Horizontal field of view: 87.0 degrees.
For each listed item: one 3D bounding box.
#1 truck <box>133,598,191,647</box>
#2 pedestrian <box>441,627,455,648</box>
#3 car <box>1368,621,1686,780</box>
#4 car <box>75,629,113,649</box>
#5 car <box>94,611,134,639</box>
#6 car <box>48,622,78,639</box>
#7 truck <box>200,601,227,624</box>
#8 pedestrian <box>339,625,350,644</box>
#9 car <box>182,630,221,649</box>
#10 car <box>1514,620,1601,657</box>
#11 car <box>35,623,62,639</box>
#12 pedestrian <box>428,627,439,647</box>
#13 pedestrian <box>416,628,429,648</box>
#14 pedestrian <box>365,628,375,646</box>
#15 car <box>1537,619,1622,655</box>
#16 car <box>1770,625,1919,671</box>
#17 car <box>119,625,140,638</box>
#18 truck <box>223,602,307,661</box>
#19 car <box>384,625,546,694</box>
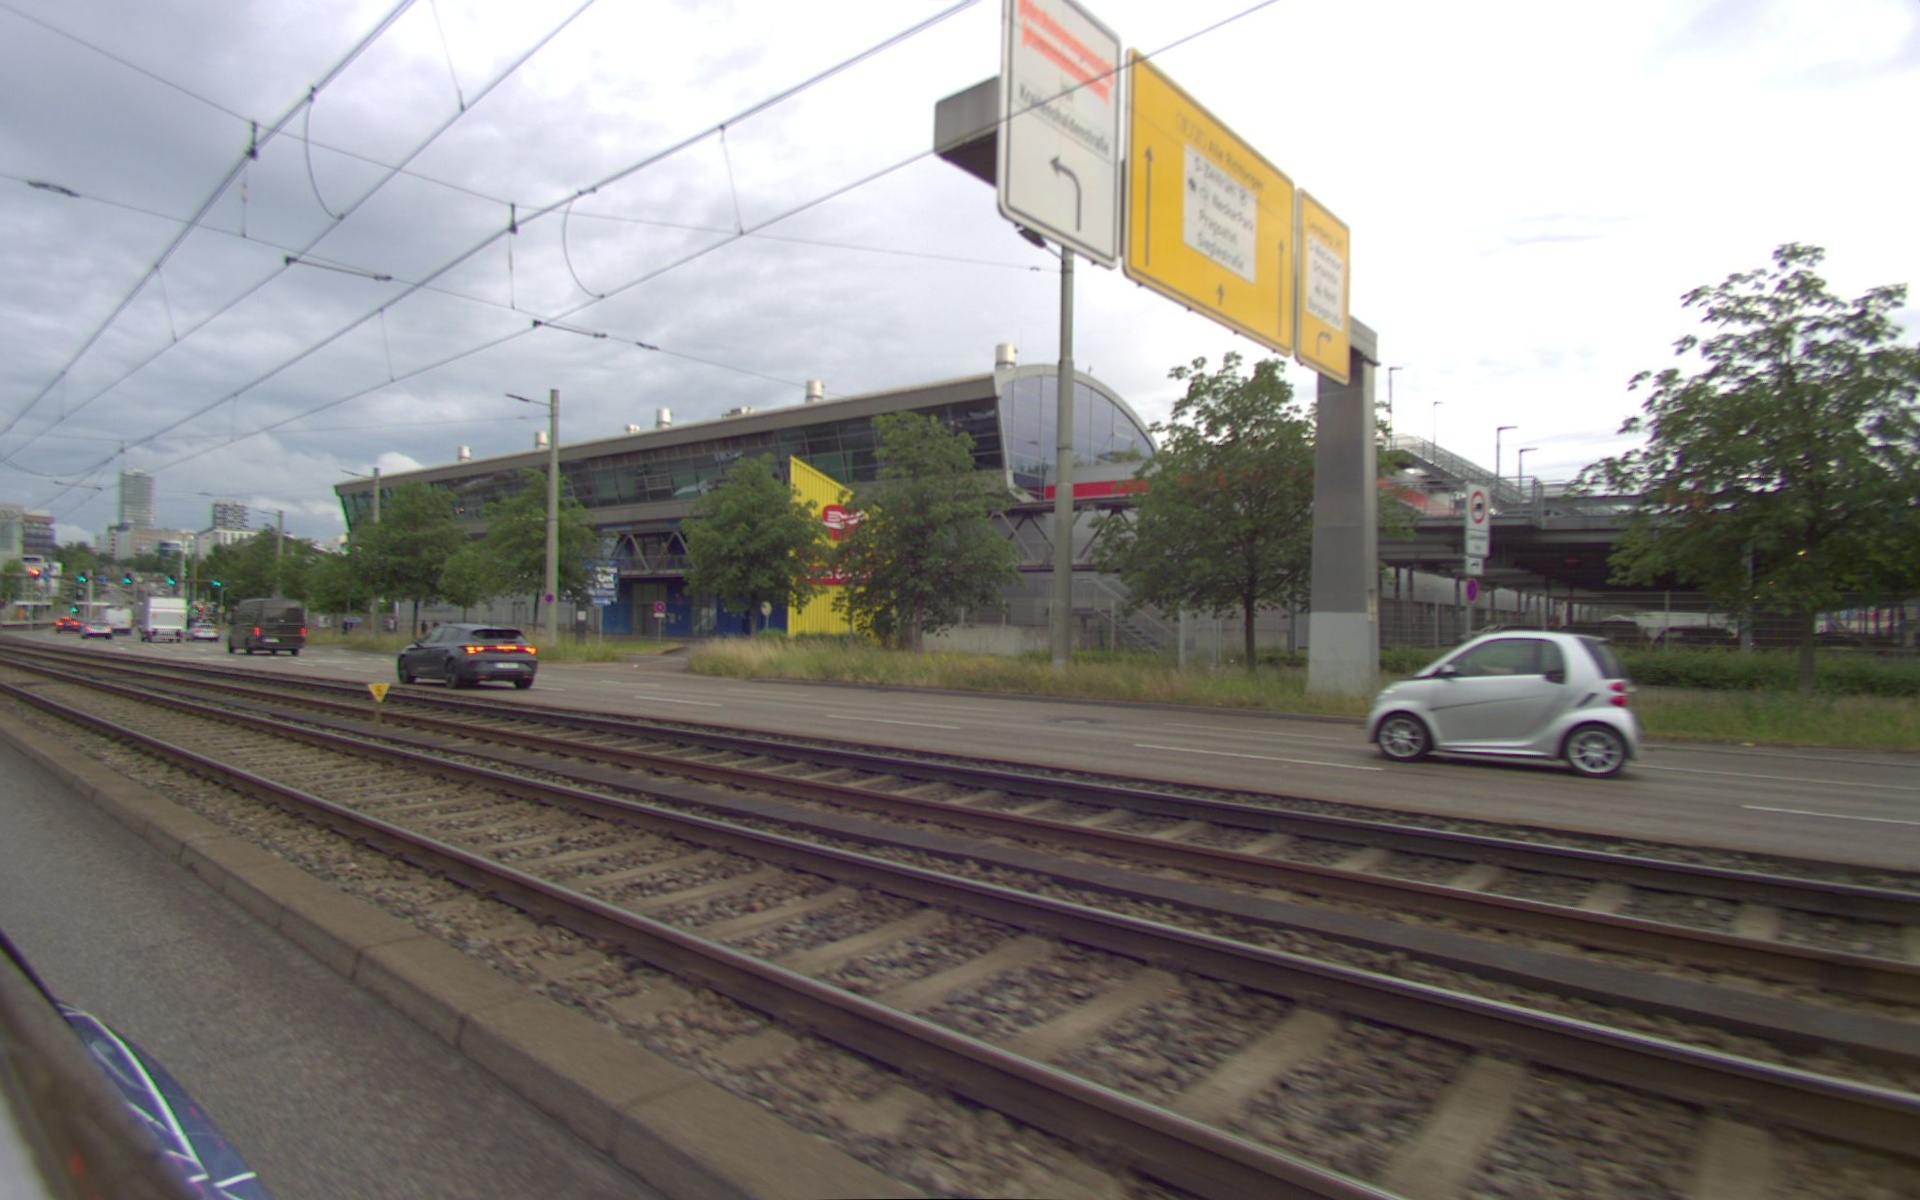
[{"bbox_3d":[-59.599,1.731,75.540,2.694,3.383,7.160,4,-4,-42],"label":"truck"},{"bbox_3d":[-36.800,2.698,72.697,0.744,1.450,0.602,-1,0,37],"label":"pedestrian"},{"bbox_3d":[6.324,1.049,11.438,2.942,1.549,1.585,0,-4,33],"label":"car"},{"bbox_3d":[-69.086,3.117,80.710,4.441,1.510,1.785,-2,-5,43],"label":"car"},{"bbox_3d":[-82.471,2.471,98.662,2.404,2.519,6.552,4,-4,-44],"label":"car"},{"bbox_3d":[-91.250,3.105,102.942,4.362,1.669,1.887,-2,-5,45],"label":"car"},{"bbox_3d":[-152.181,2.647,206.423,3.213,4.564,7.114,1,-2,-28],"label":"truck"},{"bbox_3d":[-52.062,2.880,85.591,0.627,1.575,0.675,-1,0,42],"label":"pedestrian"},{"bbox_3d":[-61.002,3.165,81.335,1.875,1.500,4.426,3,-3,-45],"label":"car"},{"bbox_3d":[34.105,2.200,57.808,3.998,2.029,1.973,-1,-3,41],"label":"car"},{"bbox_3d":[-106.985,3.660,118.765,4.678,1.745,1.971,-2,-3,43],"label":"car"},{"bbox_3d":[-39.385,2.789,75.728,0.651,1.467,0.447,-1,0,31],"label":"pedestrian"},{"bbox_3d":[-39.978,2.807,75.269,0.651,1.467,0.507,-1,0,31],"label":"pedestrian"},{"bbox_3d":[-51.681,3.221,88.608,0.758,1.509,0.542,-1,0,45],"label":"pedestrian"},{"bbox_3d":[36.288,2.136,59.334,3.998,2.029,1.973,-1,-3,41],"label":"car"},{"bbox_3d":[29.992,1.563,34.138,1.637,1.292,4.116,-1,0,-9],"label":"car"},{"bbox_3d":[-95.465,3.644,116.310,1.726,1.410,4.005,3,-3,-42],"label":"car"},{"bbox_3d":[-32.899,1.457,47.797,2.212,2.584,7.021,2,-2,-43],"label":"truck"},{"bbox_3d":[-11.395,1.324,23.194,4.233,1.440,1.784,-2,-3,41],"label":"car"}]
